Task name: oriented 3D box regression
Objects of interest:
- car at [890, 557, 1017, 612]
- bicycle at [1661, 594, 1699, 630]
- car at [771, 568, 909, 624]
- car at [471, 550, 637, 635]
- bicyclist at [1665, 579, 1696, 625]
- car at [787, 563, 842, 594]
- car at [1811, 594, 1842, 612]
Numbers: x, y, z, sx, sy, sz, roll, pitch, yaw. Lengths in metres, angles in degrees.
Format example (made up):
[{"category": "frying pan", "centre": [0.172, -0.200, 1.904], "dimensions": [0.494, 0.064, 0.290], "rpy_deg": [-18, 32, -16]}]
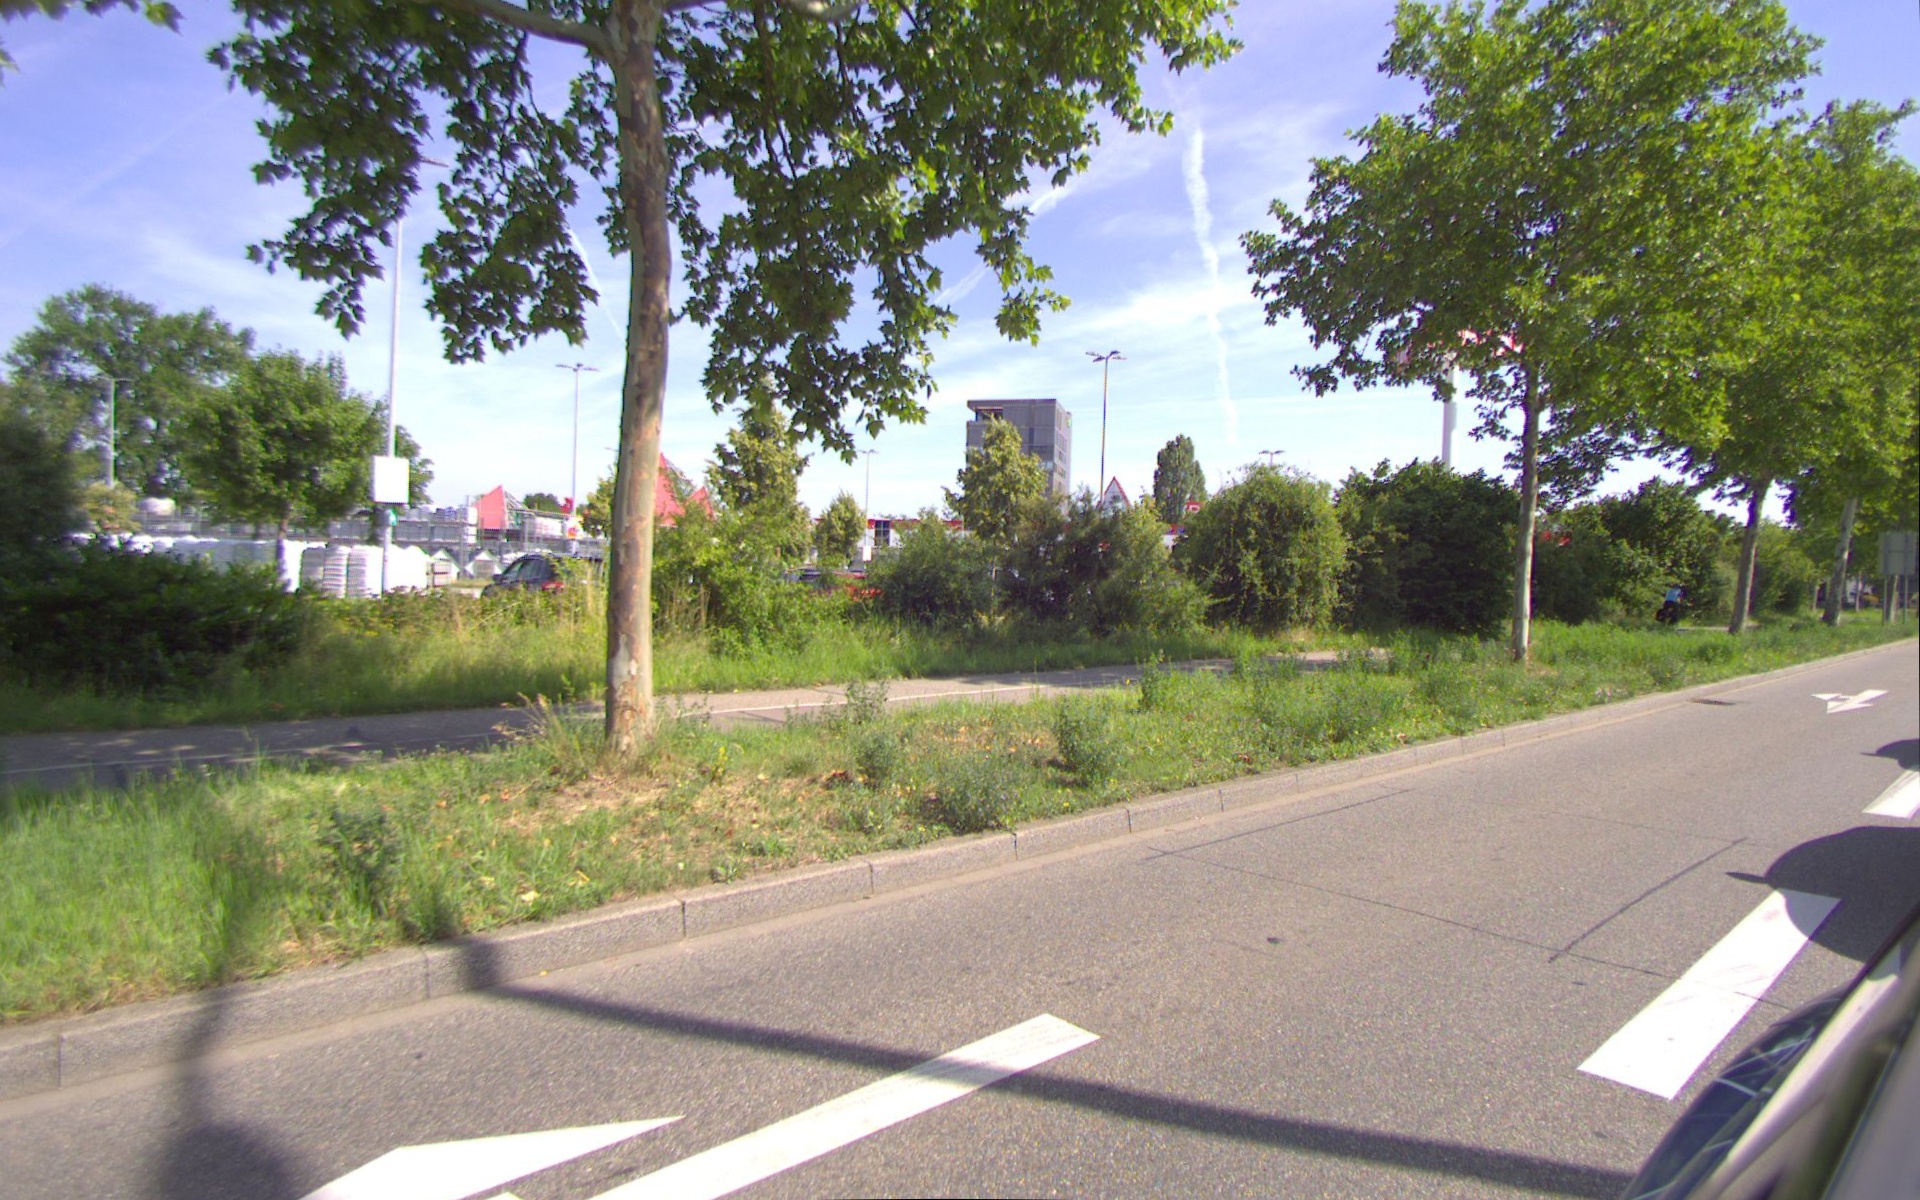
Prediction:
[{"category": "car", "centre": [-0.179, -0.524, 32.590], "dimensions": [3.801, 1.604, 1.844], "rpy_deg": [2, 2, 11]}, {"category": "bicycle", "centre": [26.662, 0.433, 37.451], "dimensions": [1.900, 1.252, 0.686], "rpy_deg": [0, 2, -41]}, {"category": "car", "centre": [-3.220, -0.145, 26.819], "dimensions": [3.553, 1.316, 1.740], "rpy_deg": [3, 2, 43]}, {"category": "car", "centre": [-8.626, -0.213, 21.357], "dimensions": [3.850, 1.604, 1.821], "rpy_deg": [3, 2, 43]}, {"category": "bicyclist", "centre": [26.683, 0.072, 37.459], "dimensions": [0.984, 1.651, 0.686], "rpy_deg": [0, 2, -41]}, {"category": "car", "centre": [-7.981, -1.198, 55.953], "dimensions": [1.665, 1.593, 3.985], "rpy_deg": [2, 2, 13]}, {"category": "car", "centre": [122.871, 0.424, 143.544], "dimensions": [2.047, 2.439, 5.947], "rpy_deg": [2, 2, 28]}]
